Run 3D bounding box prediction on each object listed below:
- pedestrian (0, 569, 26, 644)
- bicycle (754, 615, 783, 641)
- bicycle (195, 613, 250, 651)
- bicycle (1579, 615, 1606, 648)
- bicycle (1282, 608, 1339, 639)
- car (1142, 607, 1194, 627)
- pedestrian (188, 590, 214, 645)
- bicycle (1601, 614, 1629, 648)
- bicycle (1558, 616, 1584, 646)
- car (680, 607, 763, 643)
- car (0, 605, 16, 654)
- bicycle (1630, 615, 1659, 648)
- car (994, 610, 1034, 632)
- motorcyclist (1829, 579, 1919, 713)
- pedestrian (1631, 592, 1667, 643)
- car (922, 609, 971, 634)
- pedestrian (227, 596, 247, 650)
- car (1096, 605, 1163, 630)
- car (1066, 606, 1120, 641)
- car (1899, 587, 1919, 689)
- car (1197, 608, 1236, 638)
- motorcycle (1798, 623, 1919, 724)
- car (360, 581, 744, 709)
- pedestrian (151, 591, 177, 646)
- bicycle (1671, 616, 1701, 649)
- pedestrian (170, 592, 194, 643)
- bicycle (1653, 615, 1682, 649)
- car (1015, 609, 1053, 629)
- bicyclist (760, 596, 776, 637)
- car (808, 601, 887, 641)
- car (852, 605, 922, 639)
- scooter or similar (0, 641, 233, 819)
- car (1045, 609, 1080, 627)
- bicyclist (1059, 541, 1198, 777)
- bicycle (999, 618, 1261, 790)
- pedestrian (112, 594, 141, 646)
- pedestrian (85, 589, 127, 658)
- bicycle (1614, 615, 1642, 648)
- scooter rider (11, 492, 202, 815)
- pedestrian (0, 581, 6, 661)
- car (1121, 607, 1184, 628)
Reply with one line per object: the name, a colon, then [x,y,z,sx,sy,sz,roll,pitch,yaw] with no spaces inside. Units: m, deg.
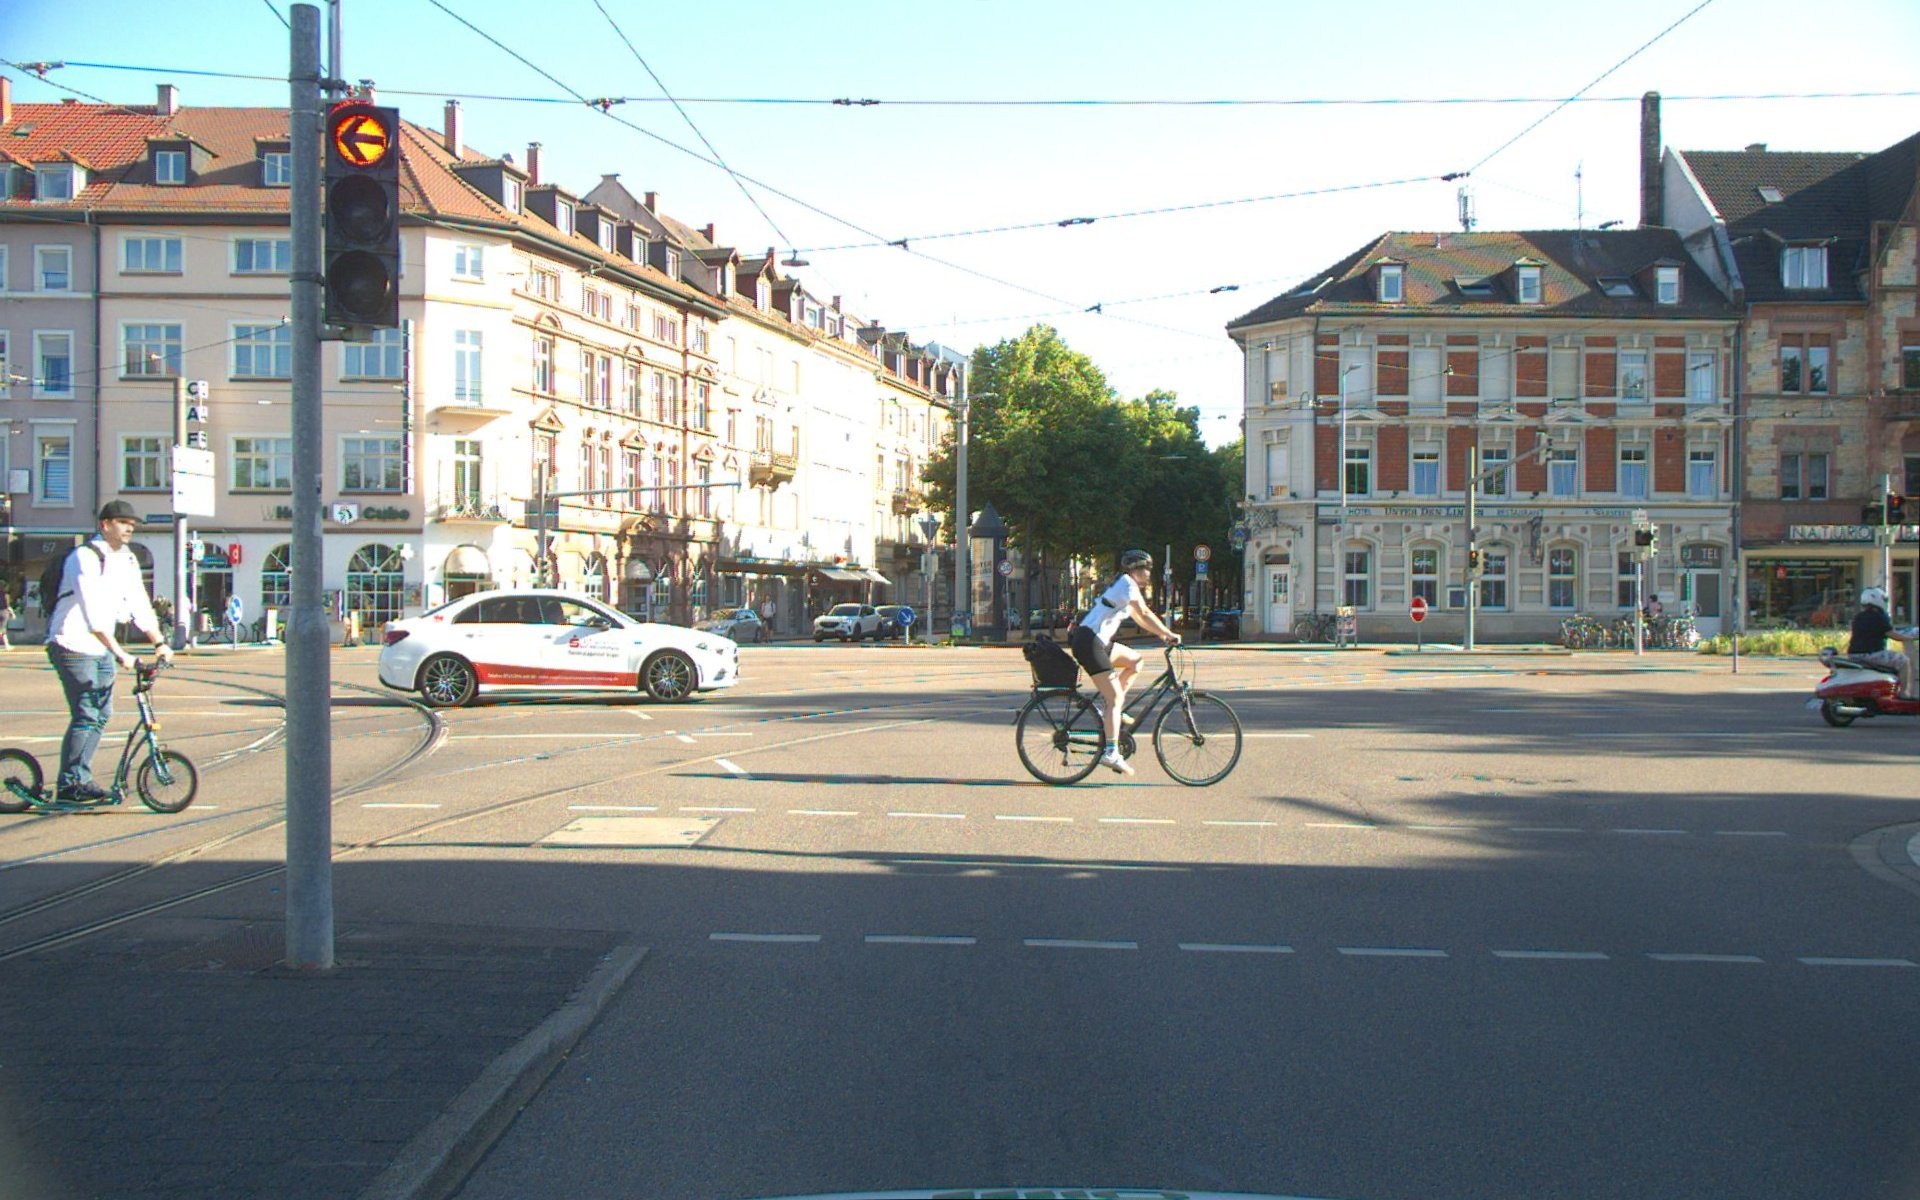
pedestrian: [-23.062,0.152,40.067,0.548,1.817,0.560,0,0,-1]
bicycle: [-7.555,1.094,65.170,0.641,1.018,1.666,1,0,11]
bicycle: [-25.085,1.085,56.280,1.684,1.299,0.385,0,0,-18]
bicycle: [20.475,1.015,53.578,0.476,1.038,1.785,0,0,9]
bicycle: [12.178,0.822,57.516,1.911,1.072,0.716,0,0,9]
car: [14.047,1.138,111.664,3.360,1.261,1.578,0,0,10]
pedestrian: [-23.717,0.548,51.682,0.731,1.711,0.623,0,0,-26]
bicycle: [21.164,0.994,53.487,0.476,1.038,1.785,0,0,9]
bicycle: [19.806,1.008,53.655,0.476,0.930,1.785,0,0,9]
car: [-9.597,0.981,66.883,1.951,1.385,3.821,0,0,15]
car: [-32.131,0.903,52.158,3.651,1.517,1.818,1,0,2]
bicycle: [22.112,1.010,53.483,0.476,1.038,1.785,0,0,9]
car: [3.818,1.473,116.897,1.951,1.429,4.172,0,0,15]
motorcyclist: [10.743,0.527,19.333,0.800,1.534,0.657,0,0,-13]
pedestrian: [23.846,0.588,57.223,1.013,1.741,0.630,1,-1,8]
car: [-0.817,1.309,102.059,1.951,1.429,4.172,0,0,15]
pedestrian: [-17.220,0.544,39.411,0.358,1.275,0.449,0,0,-12]
car: [10.251,1.028,99.826,3.902,1.480,1.683,0,0,10]
car: [5.342,0.920,66.051,1.680,1.323,4.077,0,0,11]
car: [16.388,0.572,24.690,3.881,1.525,1.738,0,0,-8]
car: [12.855,1.133,82.708,1.717,1.445,4.003,0,0,12]
motorcycle: [10.846,0.842,19.352,1.989,1.138,0.503,0,0,-12]
car: [-5.099,0.531,21.189,4.585,1.499,1.738,-1,1,-10]
pedestrian: [-24.951,0.584,51.837,0.731,1.711,0.623,0,0,-26]
bicycle: [23.592,1.037,53.745,0.476,1.038,1.785,0,0,9]
pedestrian: [-25.934,0.579,55.134,0.731,1.711,0.623,0,0,-26]
bicycle: [22.907,1.024,53.563,0.476,1.038,1.785,0,0,9]
car: [5.477,1.366,122.643,1.951,1.429,4.172,0,0,15]
bicyclist: [-7.545,0.649,65.070,0.479,1.629,0.667,0,0,9]
car: [-4.529,0.842,67.390,1.951,1.542,4.172,0,0,15]
car: [-3.224,0.947,73.582,1.951,1.429,4.172,0,0,15]
scooter or similar: [-5.382,0.798,10.358,1.402,1.062,0.565,0,0,-2]
car: [8.144,1.420,131.510,1.951,1.429,4.172,0,0,15]
bicyclist: [1.278,0.435,12.661,0.921,1.743,0.732,0,0,-8]
bicycle: [1.282,0.769,12.664,1.886,1.244,0.741,0,0,-8]
pedestrian: [-28.106,0.668,55.751,0.727,1.711,0.626,0,0,-12]
pedestrian: [-21.329,0.572,41.318,0.725,1.711,0.628,0,0,-1]
bicycle: [21.614,1.002,53.555,0.476,1.038,1.785,0,0,9]
scooter rider: [-5.316,0.320,10.345,0.779,1.945,0.797,0,0,-1]
pedestrian: [-22.793,0.491,38.490,0.751,1.861,0.722,0,0,-1]
car: [12.319,1.129,105.565,3.902,1.311,1.696,0,0,10]
